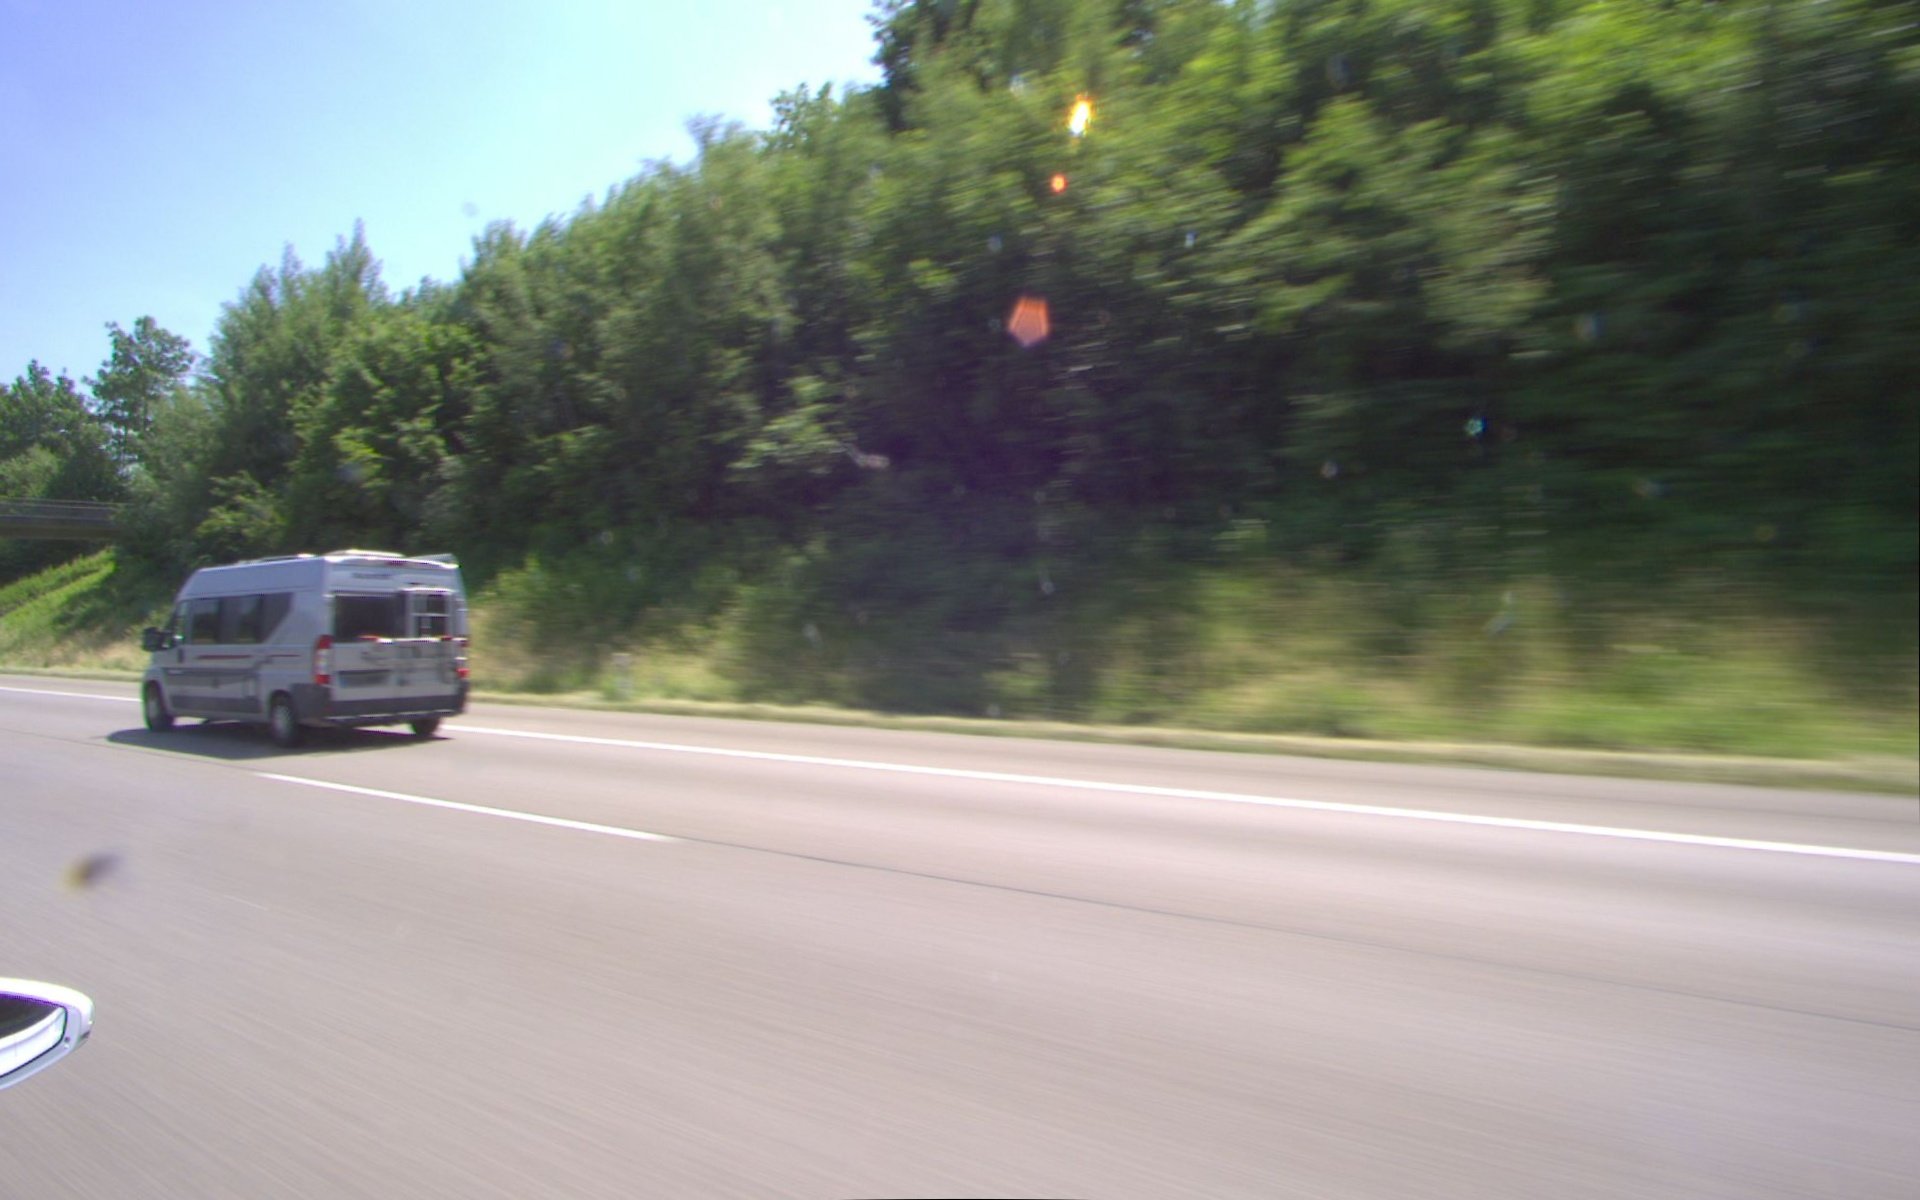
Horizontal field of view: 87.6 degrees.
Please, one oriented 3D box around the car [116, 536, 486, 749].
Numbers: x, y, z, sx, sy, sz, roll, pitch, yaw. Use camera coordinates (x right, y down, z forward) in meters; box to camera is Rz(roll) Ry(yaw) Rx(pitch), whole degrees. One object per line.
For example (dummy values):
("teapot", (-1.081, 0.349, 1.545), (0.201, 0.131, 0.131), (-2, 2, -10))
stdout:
("car", (-9.949, 0.537, 14.880), (6.526, 2.609, 2.086), (0, -1, 32))
